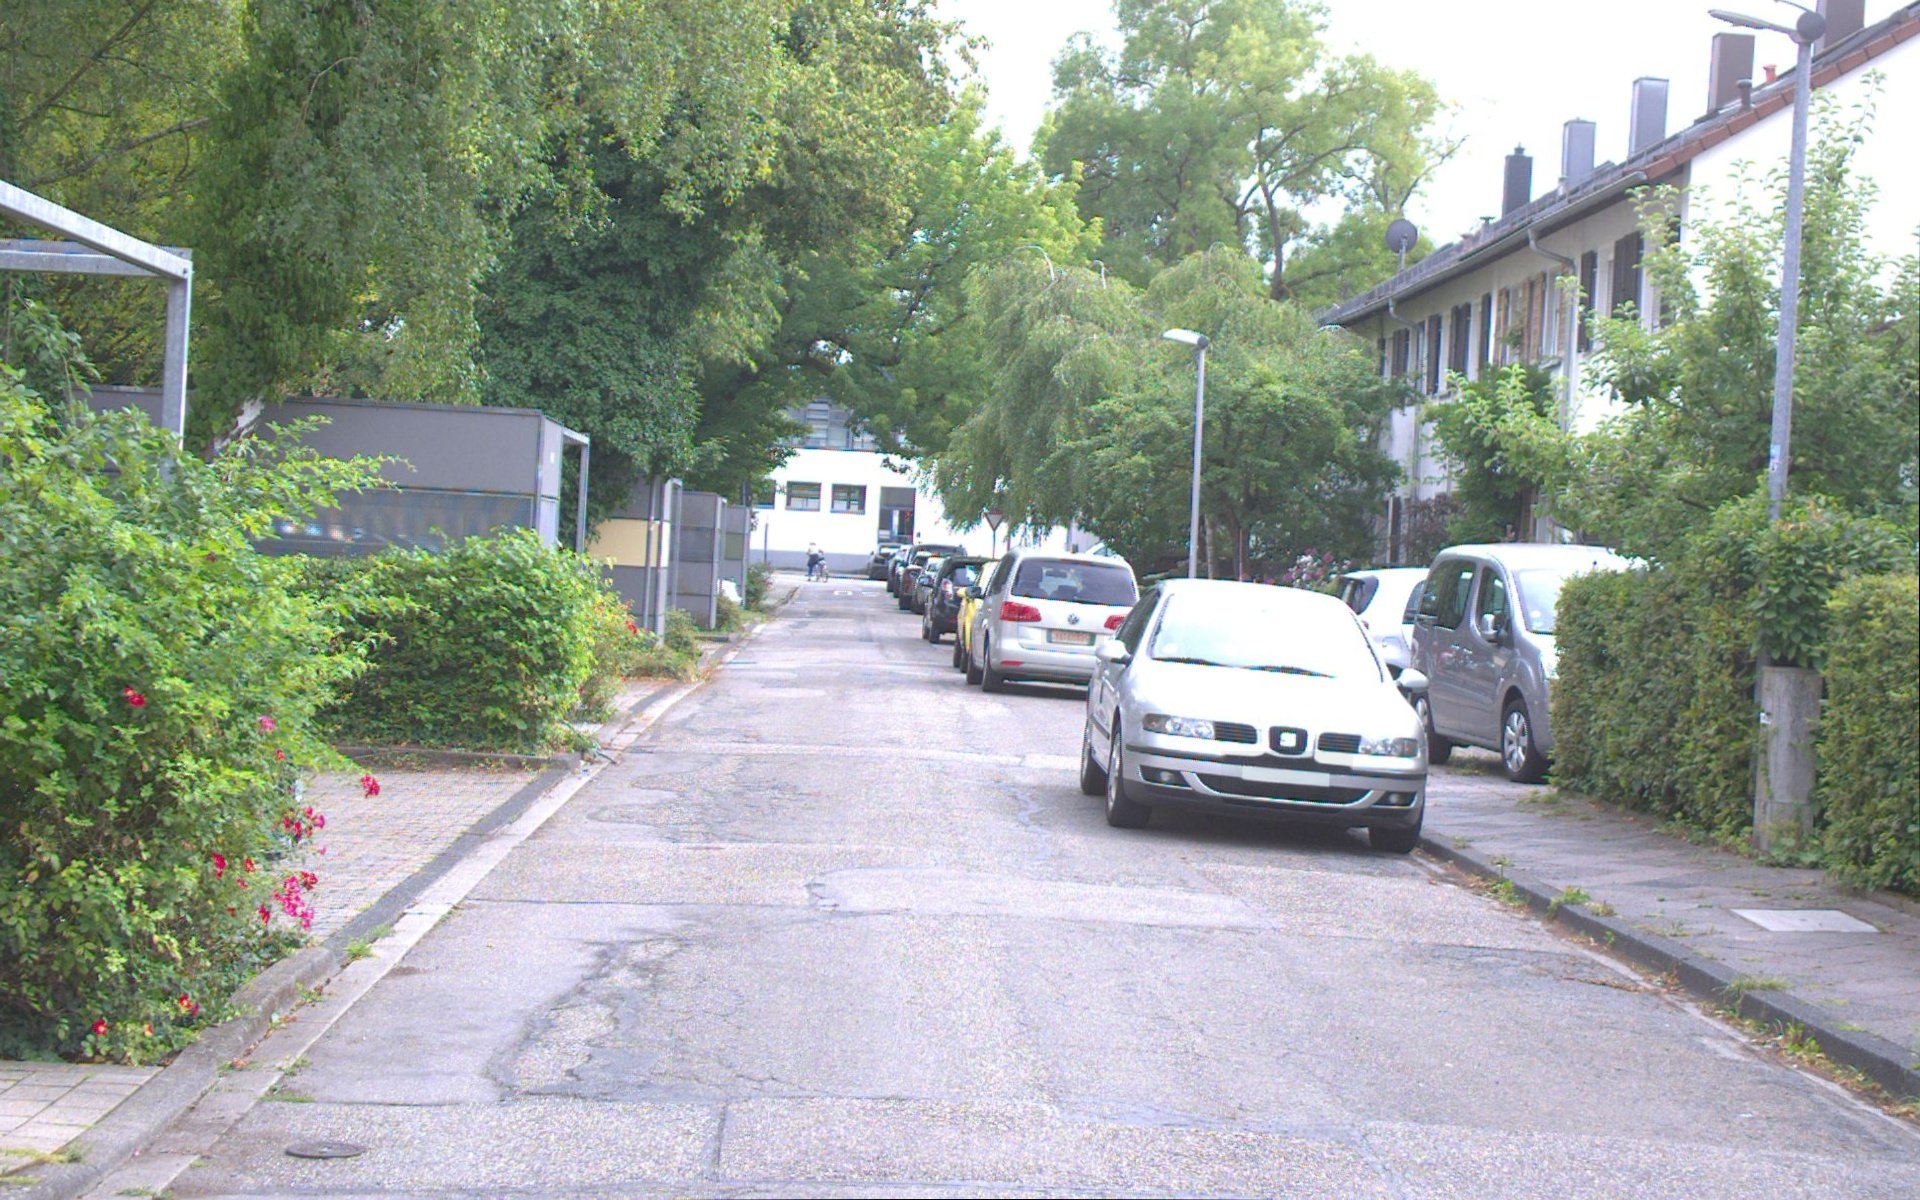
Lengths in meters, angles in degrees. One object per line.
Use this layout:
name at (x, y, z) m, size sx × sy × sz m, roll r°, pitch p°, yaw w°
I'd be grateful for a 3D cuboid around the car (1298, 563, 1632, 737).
car at (4.791, 0.457, 32.866) m, size 2.816 × 1.564 × 1.741 m, roll 1°, pitch 1°, yaw -4°

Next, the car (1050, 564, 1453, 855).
car at (1.609, 0.560, 20.470) m, size 1.825 × 1.365 × 4.331 m, roll 5°, pitch 1°, yaw -1°

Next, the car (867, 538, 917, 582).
car at (-2.698, -1.605, 136.838) m, size 1.825 × 1.576 × 4.000 m, roll 5°, pitch 1°, yaw -1°

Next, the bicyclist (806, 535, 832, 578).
bicyclist at (-5.113, -1.584, 124.578) m, size 0.798 × 1.506 × 0.934 m, roll 5°, pitch 0°, yaw 0°

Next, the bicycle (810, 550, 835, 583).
bicycle at (-4.964, -1.227, 124.385) m, size 0.689 × 1.127 × 2.579 m, roll 5°, pitch 1°, yaw 0°

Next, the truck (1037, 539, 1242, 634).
truck at (4.023, -0.312, 77.552) m, size 4.390 × 2.007 × 2.000 m, roll 1°, pitch 1°, yaw -2°

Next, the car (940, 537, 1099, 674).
car at (0.743, 0.037, 45.755) m, size 1.825 × 1.576 × 4.000 m, roll 5°, pitch 1°, yaw -1°

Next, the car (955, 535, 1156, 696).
car at (1.030, 0.127, 39.045) m, size 1.825 × 1.576 × 4.001 m, roll 5°, pitch 1°, yaw -3°

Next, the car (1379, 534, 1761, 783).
car at (4.653, 0.405, 26.873) m, size 1.825 × 1.771 × 4.342 m, roll 1°, pitch 0°, yaw -5°

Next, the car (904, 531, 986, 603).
car at (-0.391, -0.821, 84.242) m, size 1.825 × 1.576 × 4.000 m, roll 5°, pitch 1°, yaw -1°

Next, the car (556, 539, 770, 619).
car at (-5.754, -0.414, 66.933) m, size 4.031 × 1.389 × 1.738 m, roll 2°, pitch 1°, yaw -2°

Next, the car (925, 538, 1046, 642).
car at (0.405, -0.202, 59.230) m, size 1.825 × 1.576 × 4.193 m, roll 5°, pitch 1°, yaw -1°

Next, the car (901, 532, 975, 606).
car at (-0.634, -0.873, 95.999) m, size 1.825 × 1.877 × 4.000 m, roll 5°, pitch 1°, yaw -1°
